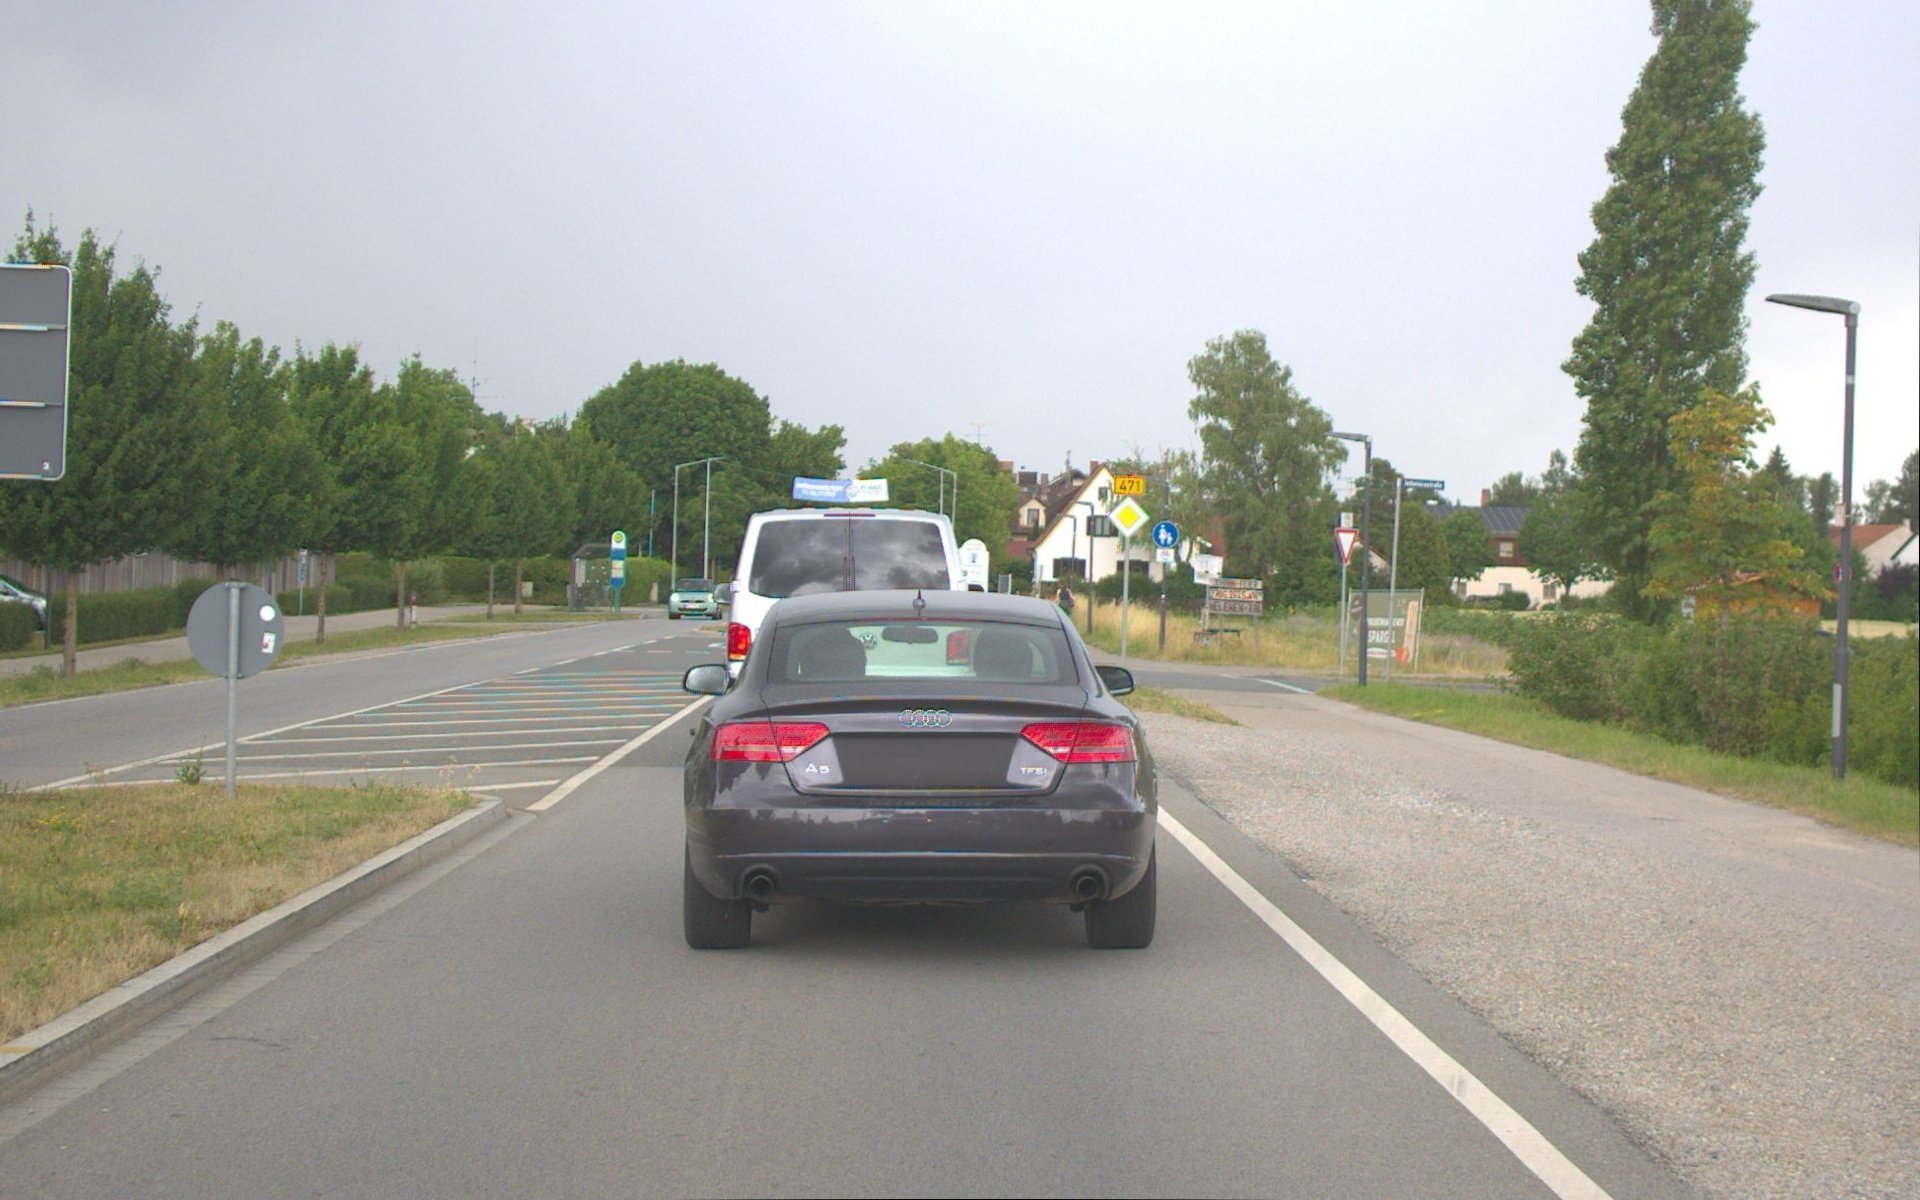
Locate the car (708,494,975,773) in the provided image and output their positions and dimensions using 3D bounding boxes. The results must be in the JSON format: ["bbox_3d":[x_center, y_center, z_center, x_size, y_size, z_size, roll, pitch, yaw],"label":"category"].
[{"bbox_3d":[-0.941,0.214,26.523,1.825,1.907,4.001,3,1,-3],"label":"car"}]

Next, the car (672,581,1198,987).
[{"bbox_3d":[-0.265,0.641,14.487,1.825,1.384,4.388,0,1,-6],"label":"car"}]

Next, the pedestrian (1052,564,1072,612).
[{"bbox_3d":[3.269,-0.390,110.056,0.623,1.519,0.680,0,1,-1],"label":"pedestrian"}]

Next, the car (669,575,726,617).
[{"bbox_3d":[-9.225,-0.152,120.879,1.770,1.439,4.000,0,1,-1],"label":"car"}]

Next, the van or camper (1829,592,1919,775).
[{"bbox_3d":[15.695,1.128,48.068,6.465,2.456,2.282,0,1,-3],"label":"van or camper"}]
